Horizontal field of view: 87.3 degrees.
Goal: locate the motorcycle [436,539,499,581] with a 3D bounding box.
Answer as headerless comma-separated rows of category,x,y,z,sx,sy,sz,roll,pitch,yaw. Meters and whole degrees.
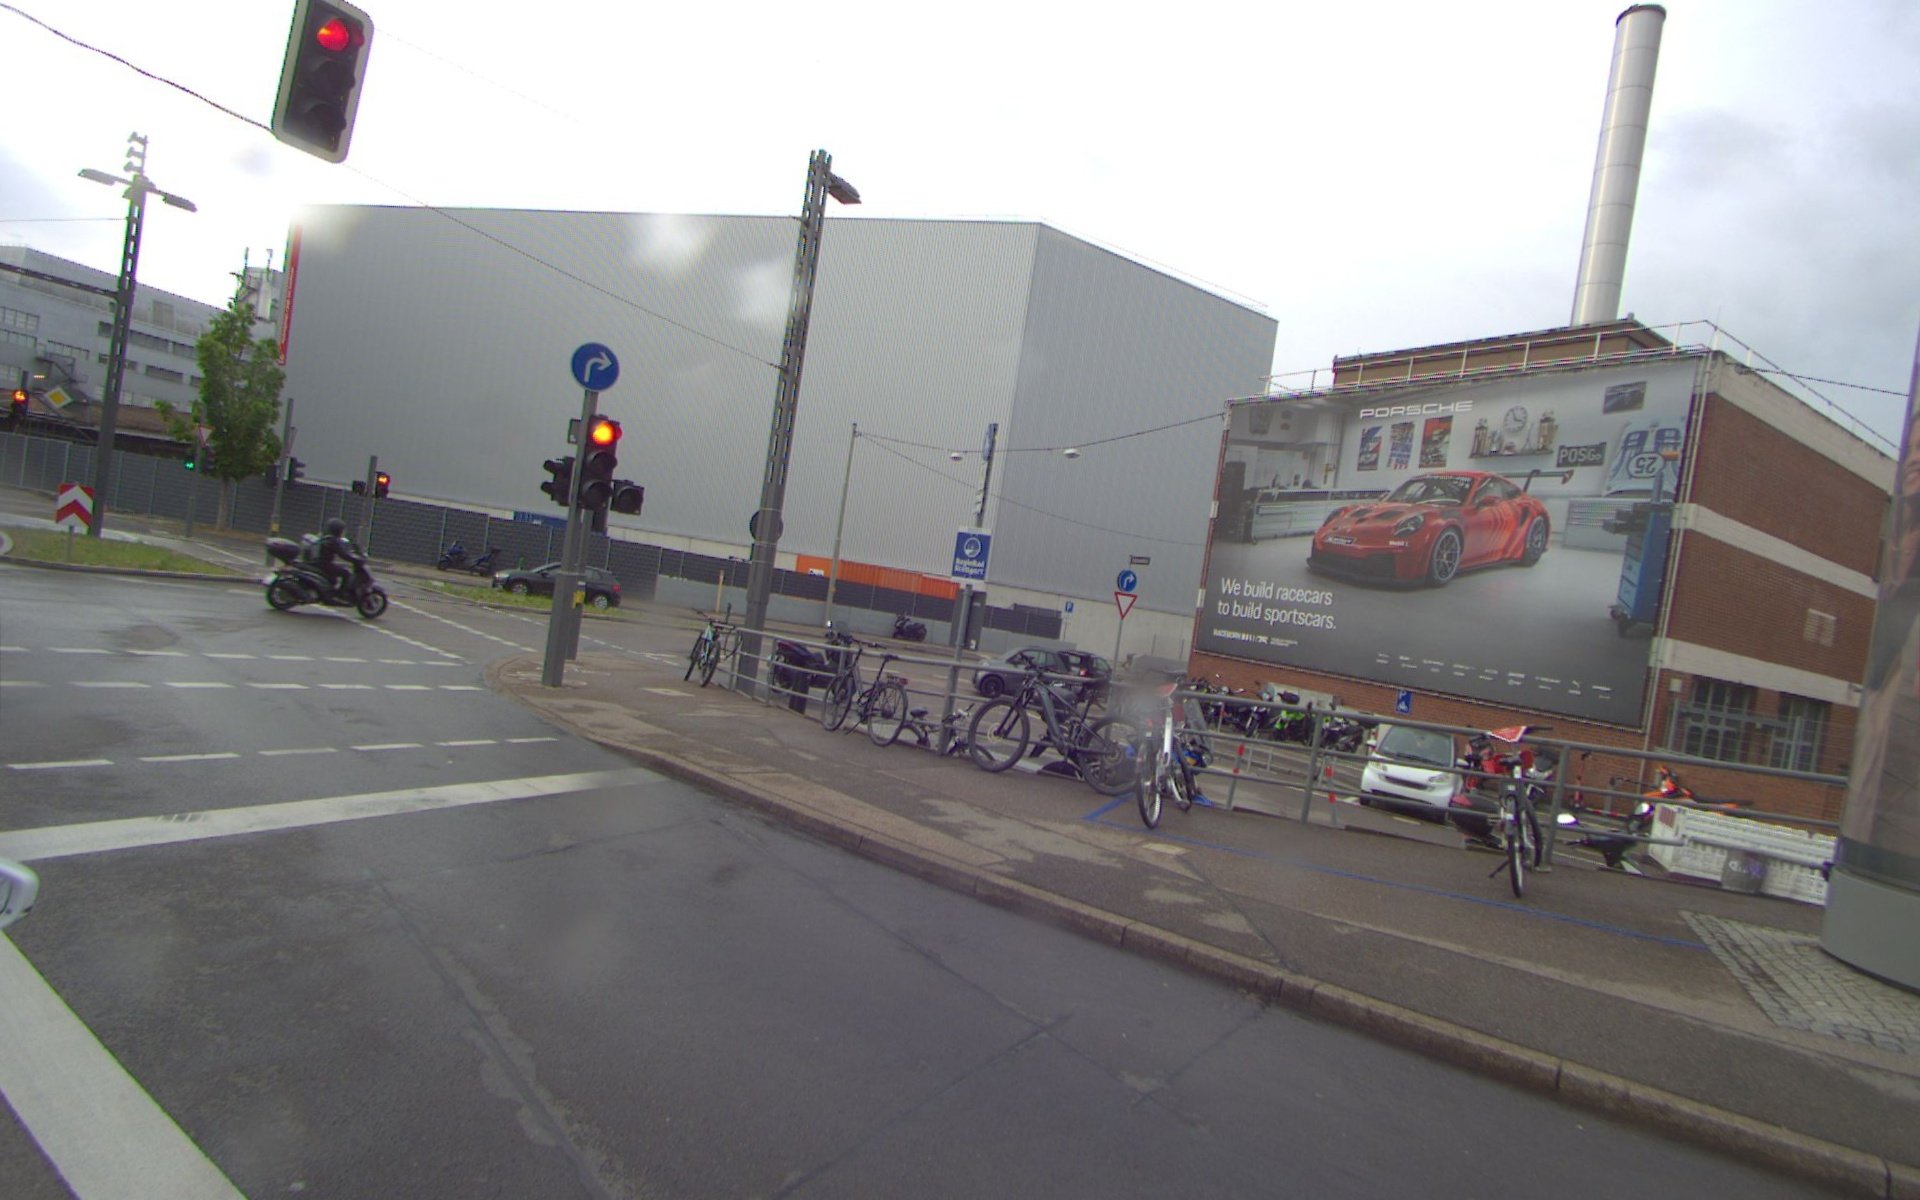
motorcycle,-19.815,-1.595,40.499,2.082,1.326,0.649,10,0,-33

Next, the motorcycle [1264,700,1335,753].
motorcycle,8.457,3.145,25.030,1.789,1.132,0.474,8,-2,-28

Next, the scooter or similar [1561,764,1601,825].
scooter or similar,12.898,4.017,20.881,0.496,1.109,1.635,6,-2,36

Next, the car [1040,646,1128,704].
car,4.134,2.492,33.274,1.530,1.510,2.745,11,0,37

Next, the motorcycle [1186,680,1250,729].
motorcycle,7.303,2.955,28.459,1.631,1.194,0.670,8,-2,-30

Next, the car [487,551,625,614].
car,-13.479,-0.583,33.615,3.958,1.442,1.707,9,-1,-30

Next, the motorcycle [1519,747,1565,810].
motorcycle,12.362,3.759,21.330,0.576,1.165,1.717,6,-2,36

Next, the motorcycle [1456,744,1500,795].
motorcycle,11.356,3.698,22.029,0.533,0.984,1.613,6,-2,36

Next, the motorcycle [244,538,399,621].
motorcycle,-11.201,-0.322,17.753,0.443,1.207,2.264,8,0,29

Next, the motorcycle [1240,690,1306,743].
motorcycle,8.200,3.061,26.307,1.695,1.194,0.541,8,-2,-30

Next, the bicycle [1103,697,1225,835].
bicycle,1.746,1.332,8.420,0.414,0.973,1.744,6,-1,29

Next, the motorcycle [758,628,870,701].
motorcycle,-2.636,1.202,18.393,0.481,1.158,2.086,6,-3,41

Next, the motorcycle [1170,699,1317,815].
motorcycle,2.740,1.494,9.741,1.241,0.901,0.434,6,0,23

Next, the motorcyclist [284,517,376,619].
motorcyclist,-11.118,-0.549,17.780,0.659,1.642,1.034,8,1,26

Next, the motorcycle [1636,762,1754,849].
motorcycle,14.133,3.935,19.373,1.639,1.349,0.524,6,-1,21

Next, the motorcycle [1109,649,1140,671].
motorcycle,10.414,3.781,63.817,0.622,1.088,1.906,8,0,-38

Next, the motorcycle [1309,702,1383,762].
motorcycle,9.400,3.210,24.483,1.788,1.253,0.540,8,1,-30

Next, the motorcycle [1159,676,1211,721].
motorcycle,6.660,2.905,29.853,0.538,1.133,1.593,8,-2,-25

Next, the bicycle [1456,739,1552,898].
bicycle,4.053,1.556,7.447,0.414,0.933,1.613,8,0,32

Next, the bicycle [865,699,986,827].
bicycle,-0.422,1.760,11.137,0.344,1.097,1.728,7,-1,-35

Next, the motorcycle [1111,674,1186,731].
motorcycle,4.504,2.446,24.174,0.539,1.123,1.850,8,-2,-32

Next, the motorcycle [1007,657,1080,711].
motorcycle,2.127,2.140,25.619,1.702,1.159,0.492,8,-2,-24

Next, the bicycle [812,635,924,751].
bicycle,-1.075,1.016,11.374,0.344,1.097,1.728,7,-1,-35

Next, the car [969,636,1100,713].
car,1.985,2.014,27.386,3.190,1.521,1.624,9,0,-4

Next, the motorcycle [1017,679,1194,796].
motorcycle,1.452,1.373,10.294,1.722,0.906,0.545,6,-1,44

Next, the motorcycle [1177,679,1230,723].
motorcycle,7.394,3.070,30.629,0.538,1.123,1.639,8,-2,-25

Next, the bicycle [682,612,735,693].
bicycle,-4.084,0.808,16.225,0.416,1.143,2.064,7,-2,-22

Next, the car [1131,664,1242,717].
car,8.330,3.331,36.870,4.070,1.460,1.554,9,-2,-35

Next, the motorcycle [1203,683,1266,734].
motorcycle,7.406,2.932,27.108,1.631,1.194,0.541,8,-2,-30

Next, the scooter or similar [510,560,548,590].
scooter or similar,-17.826,-1.036,41.599,1.247,1.041,0.385,9,0,0

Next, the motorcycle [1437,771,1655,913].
motorcycle,5.066,2.078,8.773,1.512,0.901,0.403,6,0,19

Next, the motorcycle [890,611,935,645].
motorcycle,-2.434,1.454,51.767,2.082,1.393,0.649,10,0,-33

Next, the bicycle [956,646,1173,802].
bicycle,0.978,1.151,9.713,1.981,1.189,0.400,6,0,30

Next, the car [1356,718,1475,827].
car,8.580,3.103,18.767,1.541,1.506,3.996,8,-1,29
